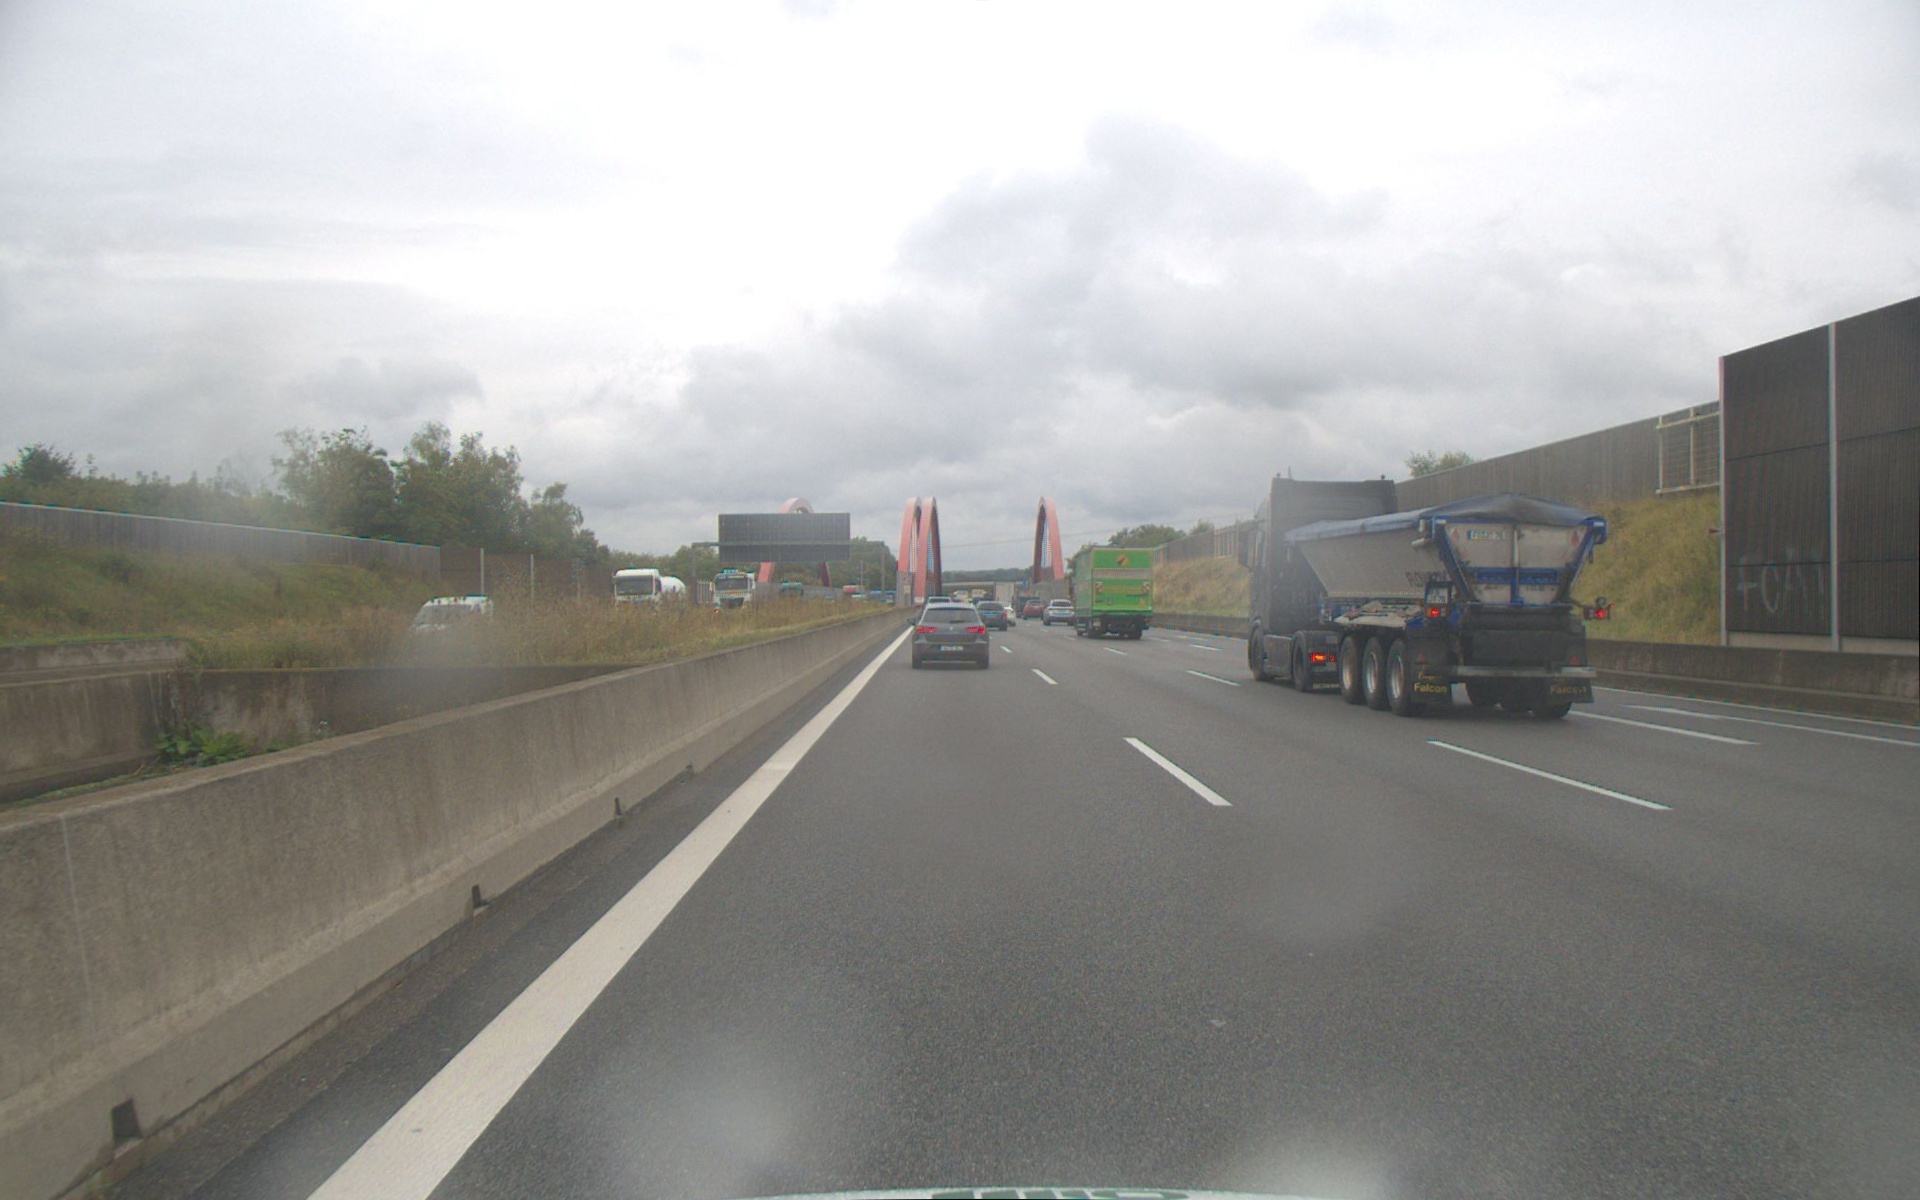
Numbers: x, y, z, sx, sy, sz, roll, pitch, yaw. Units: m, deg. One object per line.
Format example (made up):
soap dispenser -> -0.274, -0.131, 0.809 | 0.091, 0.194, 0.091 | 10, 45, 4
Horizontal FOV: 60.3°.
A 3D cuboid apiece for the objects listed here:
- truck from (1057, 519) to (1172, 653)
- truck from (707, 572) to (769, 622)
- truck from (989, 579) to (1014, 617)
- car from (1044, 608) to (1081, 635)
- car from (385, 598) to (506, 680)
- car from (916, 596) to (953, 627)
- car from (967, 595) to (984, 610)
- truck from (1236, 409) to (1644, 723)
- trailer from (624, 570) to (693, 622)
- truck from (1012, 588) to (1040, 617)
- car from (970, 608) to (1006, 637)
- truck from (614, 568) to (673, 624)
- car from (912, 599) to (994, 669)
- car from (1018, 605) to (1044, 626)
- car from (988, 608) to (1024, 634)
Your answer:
truck -> 6.622, -0.540, 72.806 | 3.916, 5.358, 11.219 | 1, 0, 0
truck -> -14.676, -0.181, 109.943 | 2.895, 3.120, 8.726 | 1, 0, -1
truck -> 5.310, -0.215, 213.838 | 2.982, 4.817, 7.679 | 1, 0, 0
car -> 6.597, 1.344, 106.591 | 1.953, 1.647, 5.327 | 1, 0, -1
car -> -13.623, 0.987, 44.049 | 1.953, 2.049, 4.197 | 1, 0, -1
car -> -1.405, 0.598, 90.491 | 1.953, 1.612, 3.999 | -1, 0, -1
car -> 1.837, 0.291, 200.740 | 1.953, 1.847, 4.000 | 1, 0, 0
truck -> 7.241, -0.423, 27.637 | 2.756, 4.019, 12.708 | 0, 0, -2
trailer -> -18.663, -0.255, 102.870 | 2.558, 3.041, 10.793 | 1, 0, -2
truck -> 6.029, 0.218, 152.664 | 2.313, 2.550, 6.143 | 1, 0, 0
car -> 1.408, 1.140, 84.254 | 1.745, 1.431, 3.625 | 1, 0, -1
truck -> -18.434, -0.212, 96.540 | 2.569, 3.072, 5.609 | 1, 0, -3
car -> -0.140, 0.728, 37.241 | 1.727, 1.478, 4.000 | 1, 0, 0
car -> 5.885, 1.249, 137.028 | 1.917, 1.676, 3.999 | 1, 0, -1
car -> 2.749, 1.237, 99.524 | 1.953, 1.512, 3.999 | 1, 0, -1
